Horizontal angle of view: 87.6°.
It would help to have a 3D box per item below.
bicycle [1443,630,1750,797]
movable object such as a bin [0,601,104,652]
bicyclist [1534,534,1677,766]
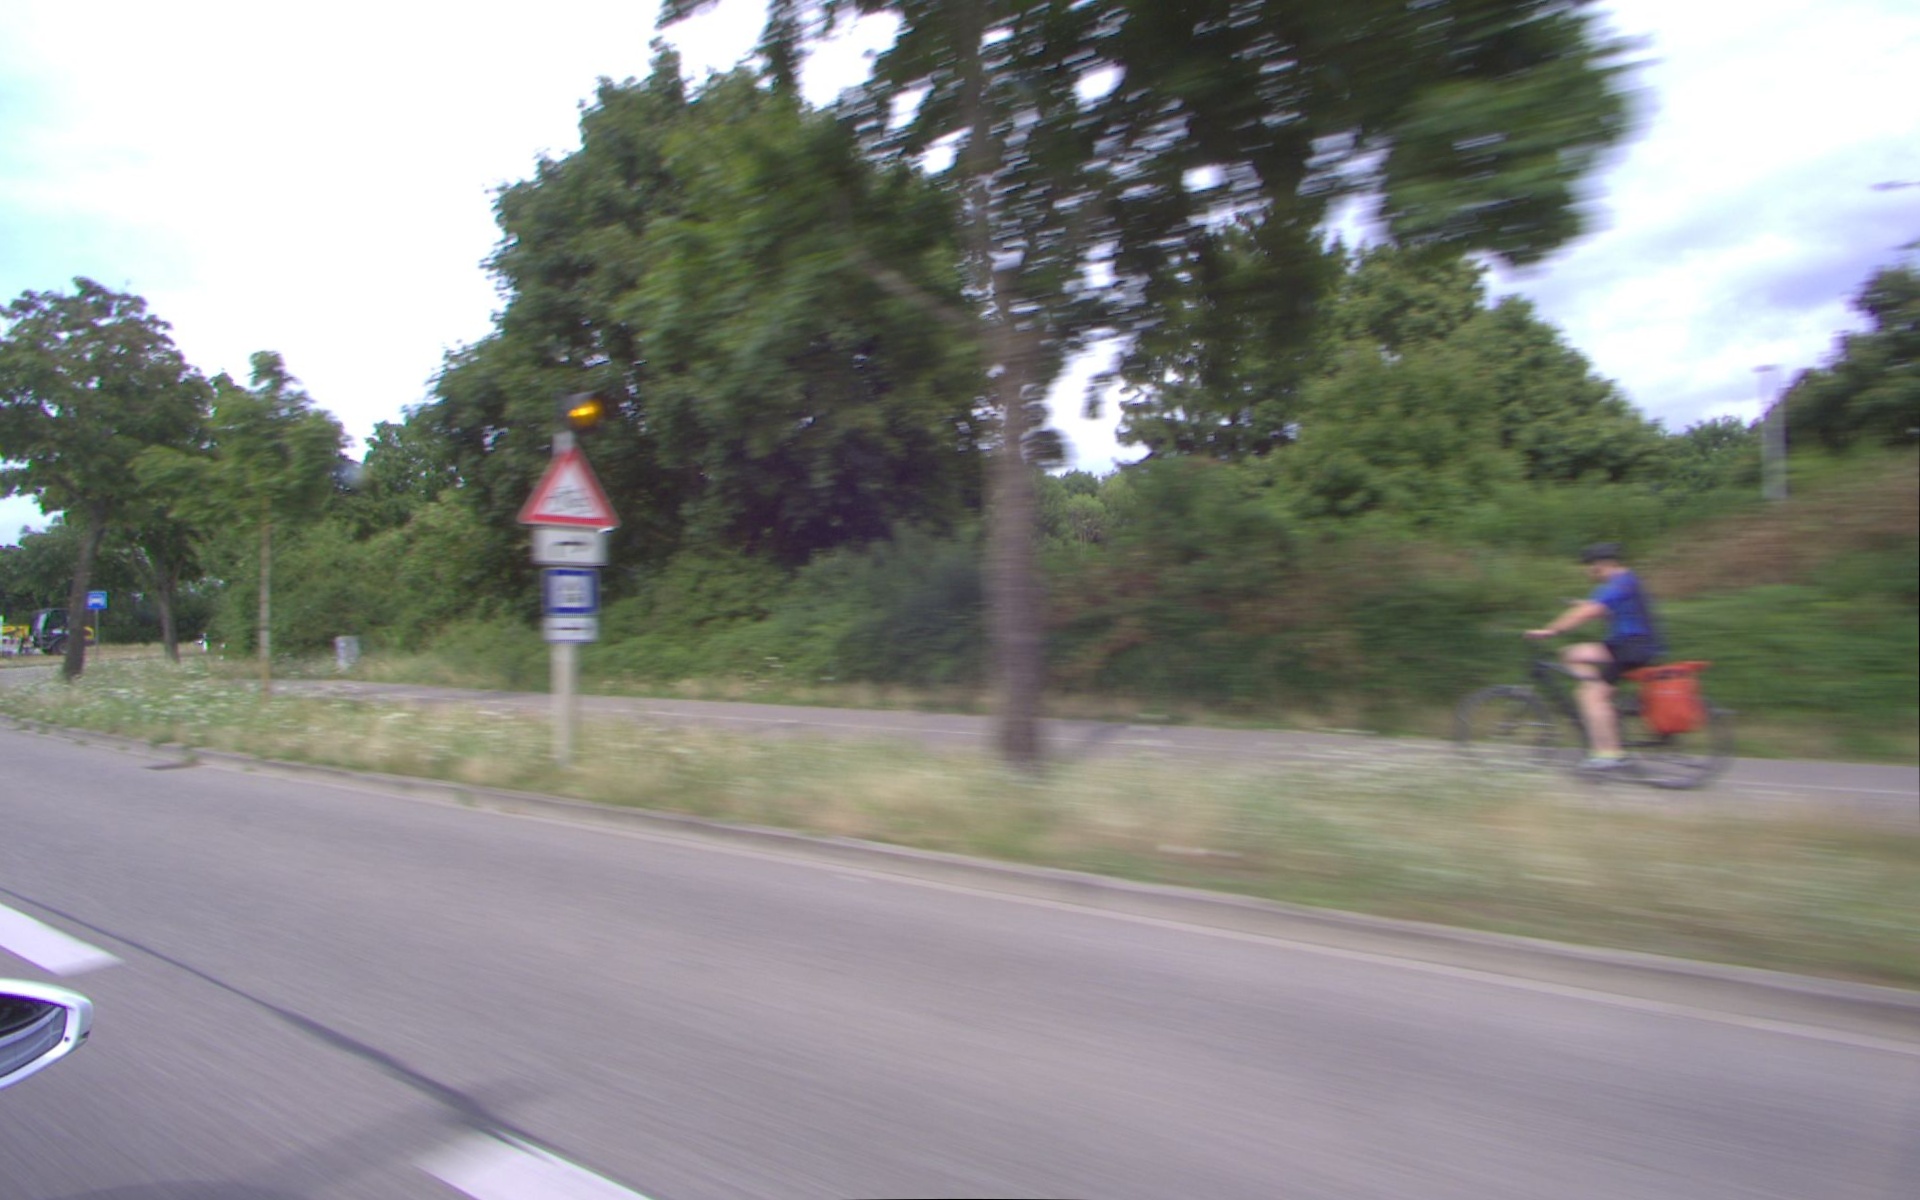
[{"bbox_3d":[4.885,0.824,7.817,1.953,1.163,0.572,-1,1,32],"label":"bicycle"},{"bbox_3d":[-50.474,1.481,55.345,2.076,2.723,4.484,-2,-2,39],"label":"movable object such as a bin"},{"bbox_3d":[4.969,0.385,7.755,0.863,1.679,0.651,-2,-2,31],"label":"bicyclist"}]
